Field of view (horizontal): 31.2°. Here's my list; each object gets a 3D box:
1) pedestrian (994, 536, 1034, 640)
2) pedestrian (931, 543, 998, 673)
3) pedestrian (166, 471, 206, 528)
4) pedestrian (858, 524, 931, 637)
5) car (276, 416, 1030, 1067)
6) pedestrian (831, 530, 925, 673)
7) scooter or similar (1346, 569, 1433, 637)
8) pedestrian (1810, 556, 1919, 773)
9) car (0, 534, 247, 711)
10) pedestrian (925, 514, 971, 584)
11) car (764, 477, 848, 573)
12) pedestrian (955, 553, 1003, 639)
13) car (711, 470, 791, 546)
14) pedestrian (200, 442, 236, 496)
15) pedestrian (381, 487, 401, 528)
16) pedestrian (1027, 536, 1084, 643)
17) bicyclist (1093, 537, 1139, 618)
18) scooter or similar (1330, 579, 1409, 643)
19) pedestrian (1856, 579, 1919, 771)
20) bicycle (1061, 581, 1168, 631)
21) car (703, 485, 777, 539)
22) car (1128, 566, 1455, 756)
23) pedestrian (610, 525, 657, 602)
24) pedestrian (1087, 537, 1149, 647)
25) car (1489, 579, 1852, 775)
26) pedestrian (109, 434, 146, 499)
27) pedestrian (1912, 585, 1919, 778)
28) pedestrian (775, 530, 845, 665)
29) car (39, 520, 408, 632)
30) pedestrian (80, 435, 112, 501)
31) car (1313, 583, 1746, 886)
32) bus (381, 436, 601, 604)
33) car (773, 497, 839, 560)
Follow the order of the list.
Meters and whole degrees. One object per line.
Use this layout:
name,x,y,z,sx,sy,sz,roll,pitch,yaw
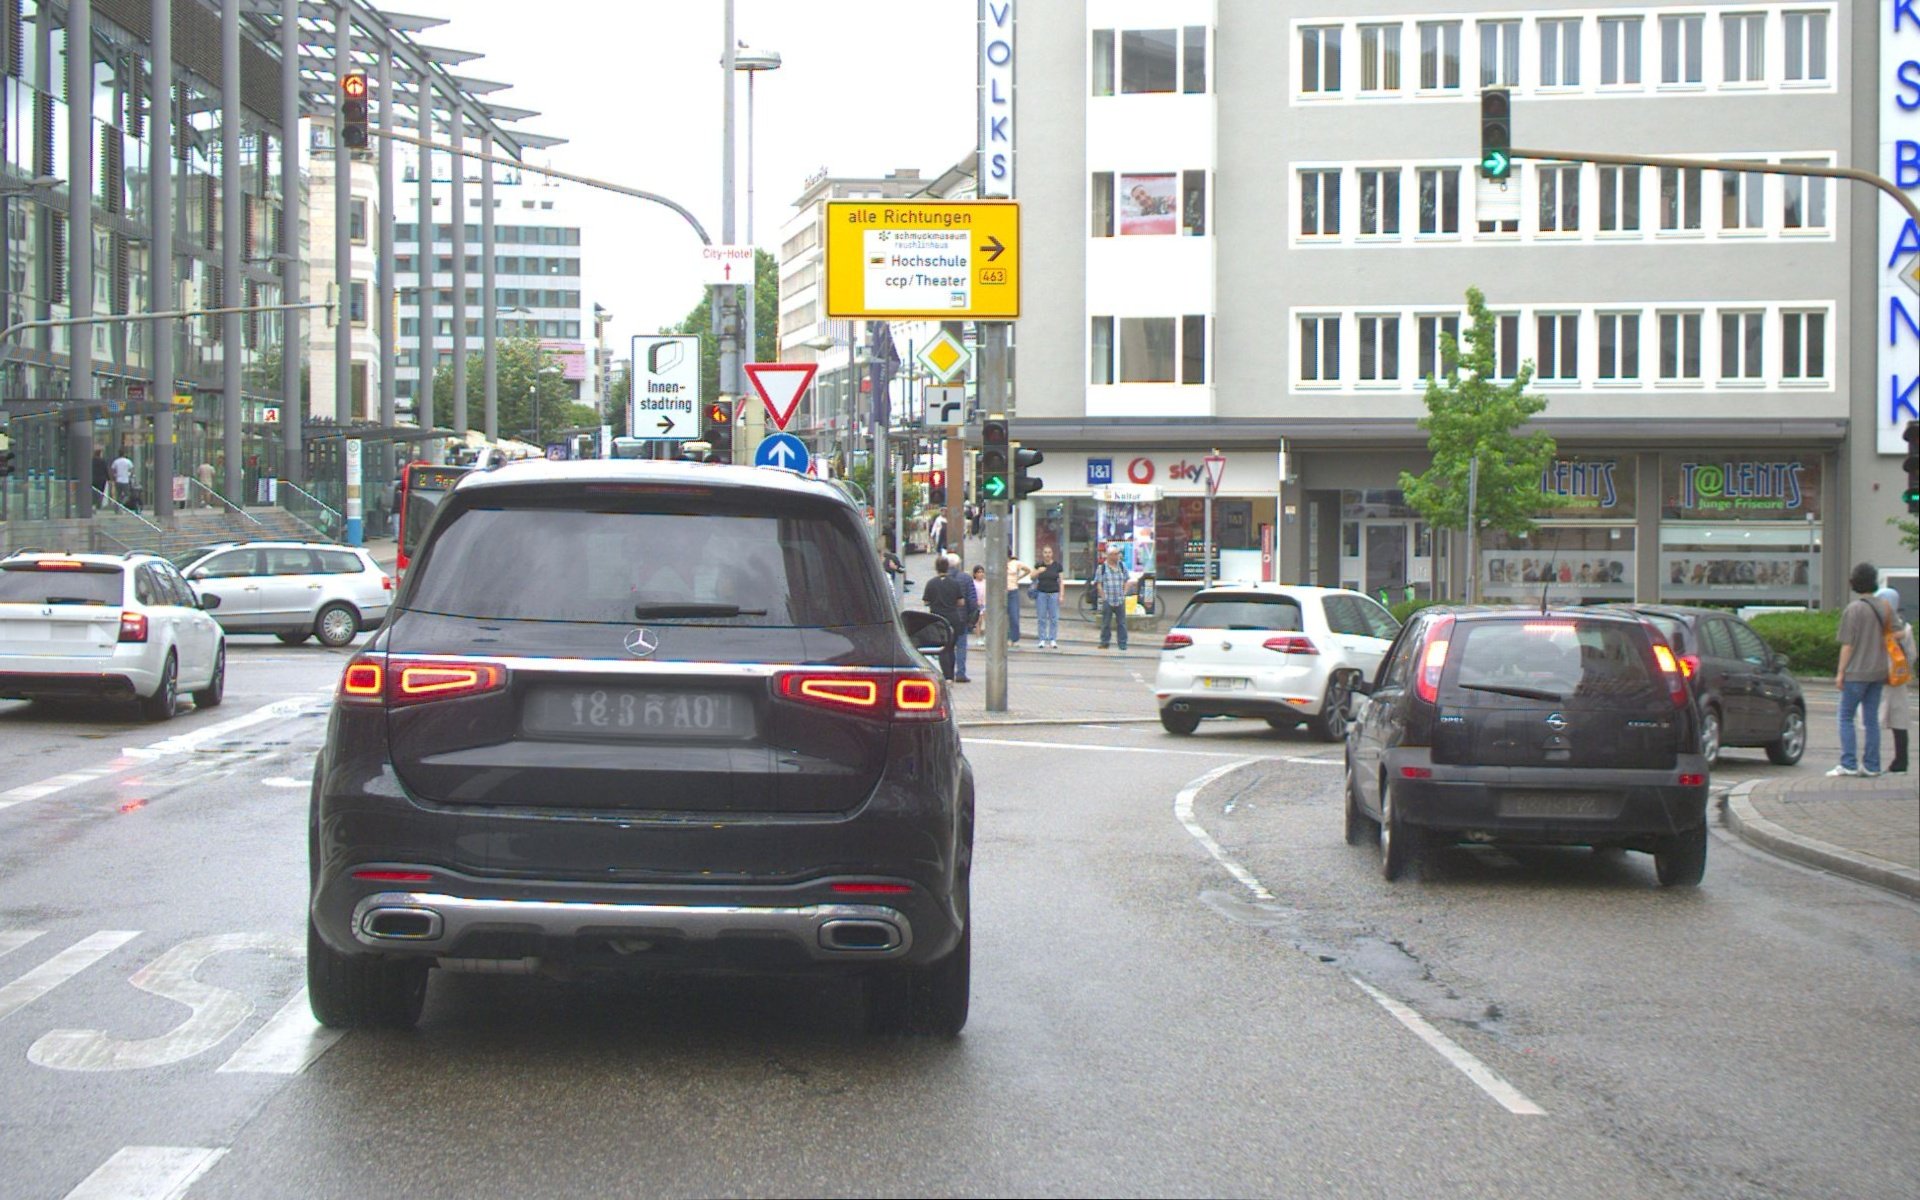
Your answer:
pedestrian,0.874,-0.200,55.589,0.569,1.663,0.501,2,1,5
pedestrian,0.061,0.098,42.572,0.713,1.563,0.854,3,0,3
pedestrian,-23.591,-3.057,104.836,1.038,1.707,1.008,2,1,-7
pedestrian,-1.067,-0.321,55.984,1.009,1.781,0.853,3,1,-8
car,-1.076,0.335,12.070,2.087,1.810,4.794,1,2,-5
pedestrian,-0.988,0.007,41.587,0.978,1.666,0.915,3,1,4
scooter or similar,8.364,0.061,66.942,1.498,1.252,0.930,3,0,18
pedestrian,7.174,0.509,27.199,0.627,1.686,0.780,-1,-1,34
car,-7.706,0.146,30.908,1.792,1.411,4.632,1,1,-3
pedestrian,-0.319,-1.339,89.646,1.022,1.769,0.800,3,1,-7
car,-5.096,-2.462,112.933,2.444,2.947,6.154,3,1,-4
pedestrian,0.305,-0.068,55.634,0.630,1.335,0.588,3,1,-7
car,-9.990,-4.367,164.771,2.445,3.453,6.151,3,1,8
pedestrian,-24.444,-4.312,113.297,1.038,1.707,1.008,2,1,-7
pedestrian,-18.761,-3.048,113.294,0.510,1.336,0.420,3,1,4
pedestrian,1.540,-0.172,55.583,0.781,1.683,0.638,3,1,7
bicyclist,3.293,-0.475,72.587,0.845,1.698,0.622,1,1,12
scooter or similar,7.772,0.197,65.212,1.381,1.183,0.543,1,1,18
pedestrian,8.207,0.661,29.843,0.539,1.632,0.838,-2,-3,-2
bicycle,3.269,0.127,72.587,2.138,0.989,0.694,2,1,12
car,-7.828,-3.138,122.846,2.422,1.774,5.155,3,1,-2
car,3.317,0.537,33.670,1.952,1.568,3.995,4,3,24
pedestrian,-8.185,-0.913,86.159,0.955,1.880,0.810,3,1,5
pedestrian,2.606,-0.133,56.751,0.829,1.772,0.618,3,1,-7
car,6.707,0.655,32.169,1.954,1.568,3.993,4,3,33
pedestrian,-22.349,-3.575,92.270,0.827,1.707,0.802,2,1,-7
pedestrian,8.573,0.686,29.158,0.745,1.630,0.595,-3,-4,40
pedestrian,-1.928,-0.033,44.267,0.756,1.686,0.693,3,-1,3
car,-10.395,-0.331,48.649,4.738,1.441,1.791,1,1,-32
pedestrian,-23.072,-3.524,91.780,0.680,1.707,0.850,2,1,-7
car,2.971,0.654,18.642,1.717,1.415,3.770,2,0,1
bus,-10.512,-1.771,79.262,2.920,3.309,18.480,2,1,-2
car,-4.786,-2.222,106.381,1.860,1.819,4.104,3,1,-4
